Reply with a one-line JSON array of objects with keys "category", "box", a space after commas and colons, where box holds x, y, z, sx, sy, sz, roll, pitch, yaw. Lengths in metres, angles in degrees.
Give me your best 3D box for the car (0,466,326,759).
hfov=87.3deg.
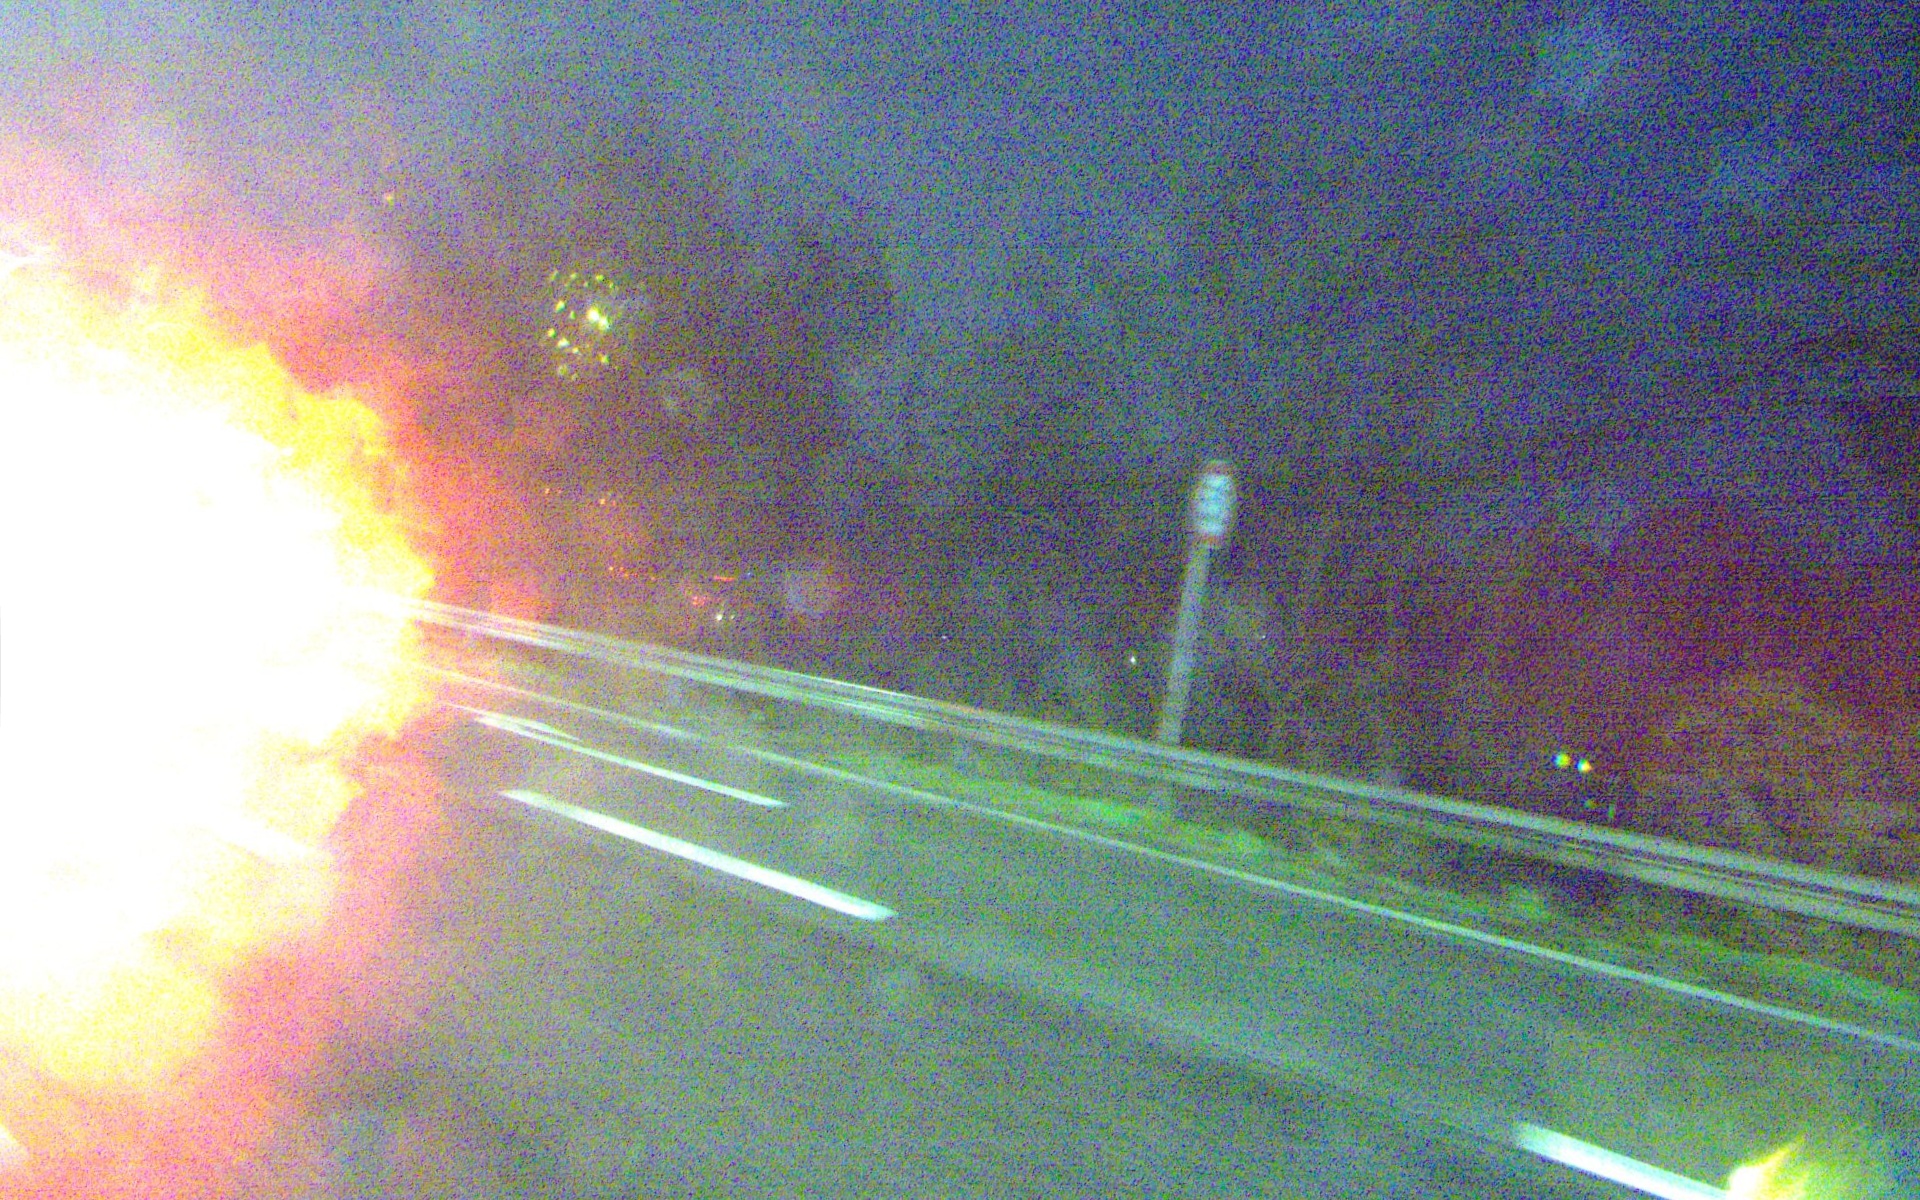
[{"category": "car", "box": [-6.446, -0.034, 6.987, 3.712, 1.582, 1.744, 7, -2, 29]}]
